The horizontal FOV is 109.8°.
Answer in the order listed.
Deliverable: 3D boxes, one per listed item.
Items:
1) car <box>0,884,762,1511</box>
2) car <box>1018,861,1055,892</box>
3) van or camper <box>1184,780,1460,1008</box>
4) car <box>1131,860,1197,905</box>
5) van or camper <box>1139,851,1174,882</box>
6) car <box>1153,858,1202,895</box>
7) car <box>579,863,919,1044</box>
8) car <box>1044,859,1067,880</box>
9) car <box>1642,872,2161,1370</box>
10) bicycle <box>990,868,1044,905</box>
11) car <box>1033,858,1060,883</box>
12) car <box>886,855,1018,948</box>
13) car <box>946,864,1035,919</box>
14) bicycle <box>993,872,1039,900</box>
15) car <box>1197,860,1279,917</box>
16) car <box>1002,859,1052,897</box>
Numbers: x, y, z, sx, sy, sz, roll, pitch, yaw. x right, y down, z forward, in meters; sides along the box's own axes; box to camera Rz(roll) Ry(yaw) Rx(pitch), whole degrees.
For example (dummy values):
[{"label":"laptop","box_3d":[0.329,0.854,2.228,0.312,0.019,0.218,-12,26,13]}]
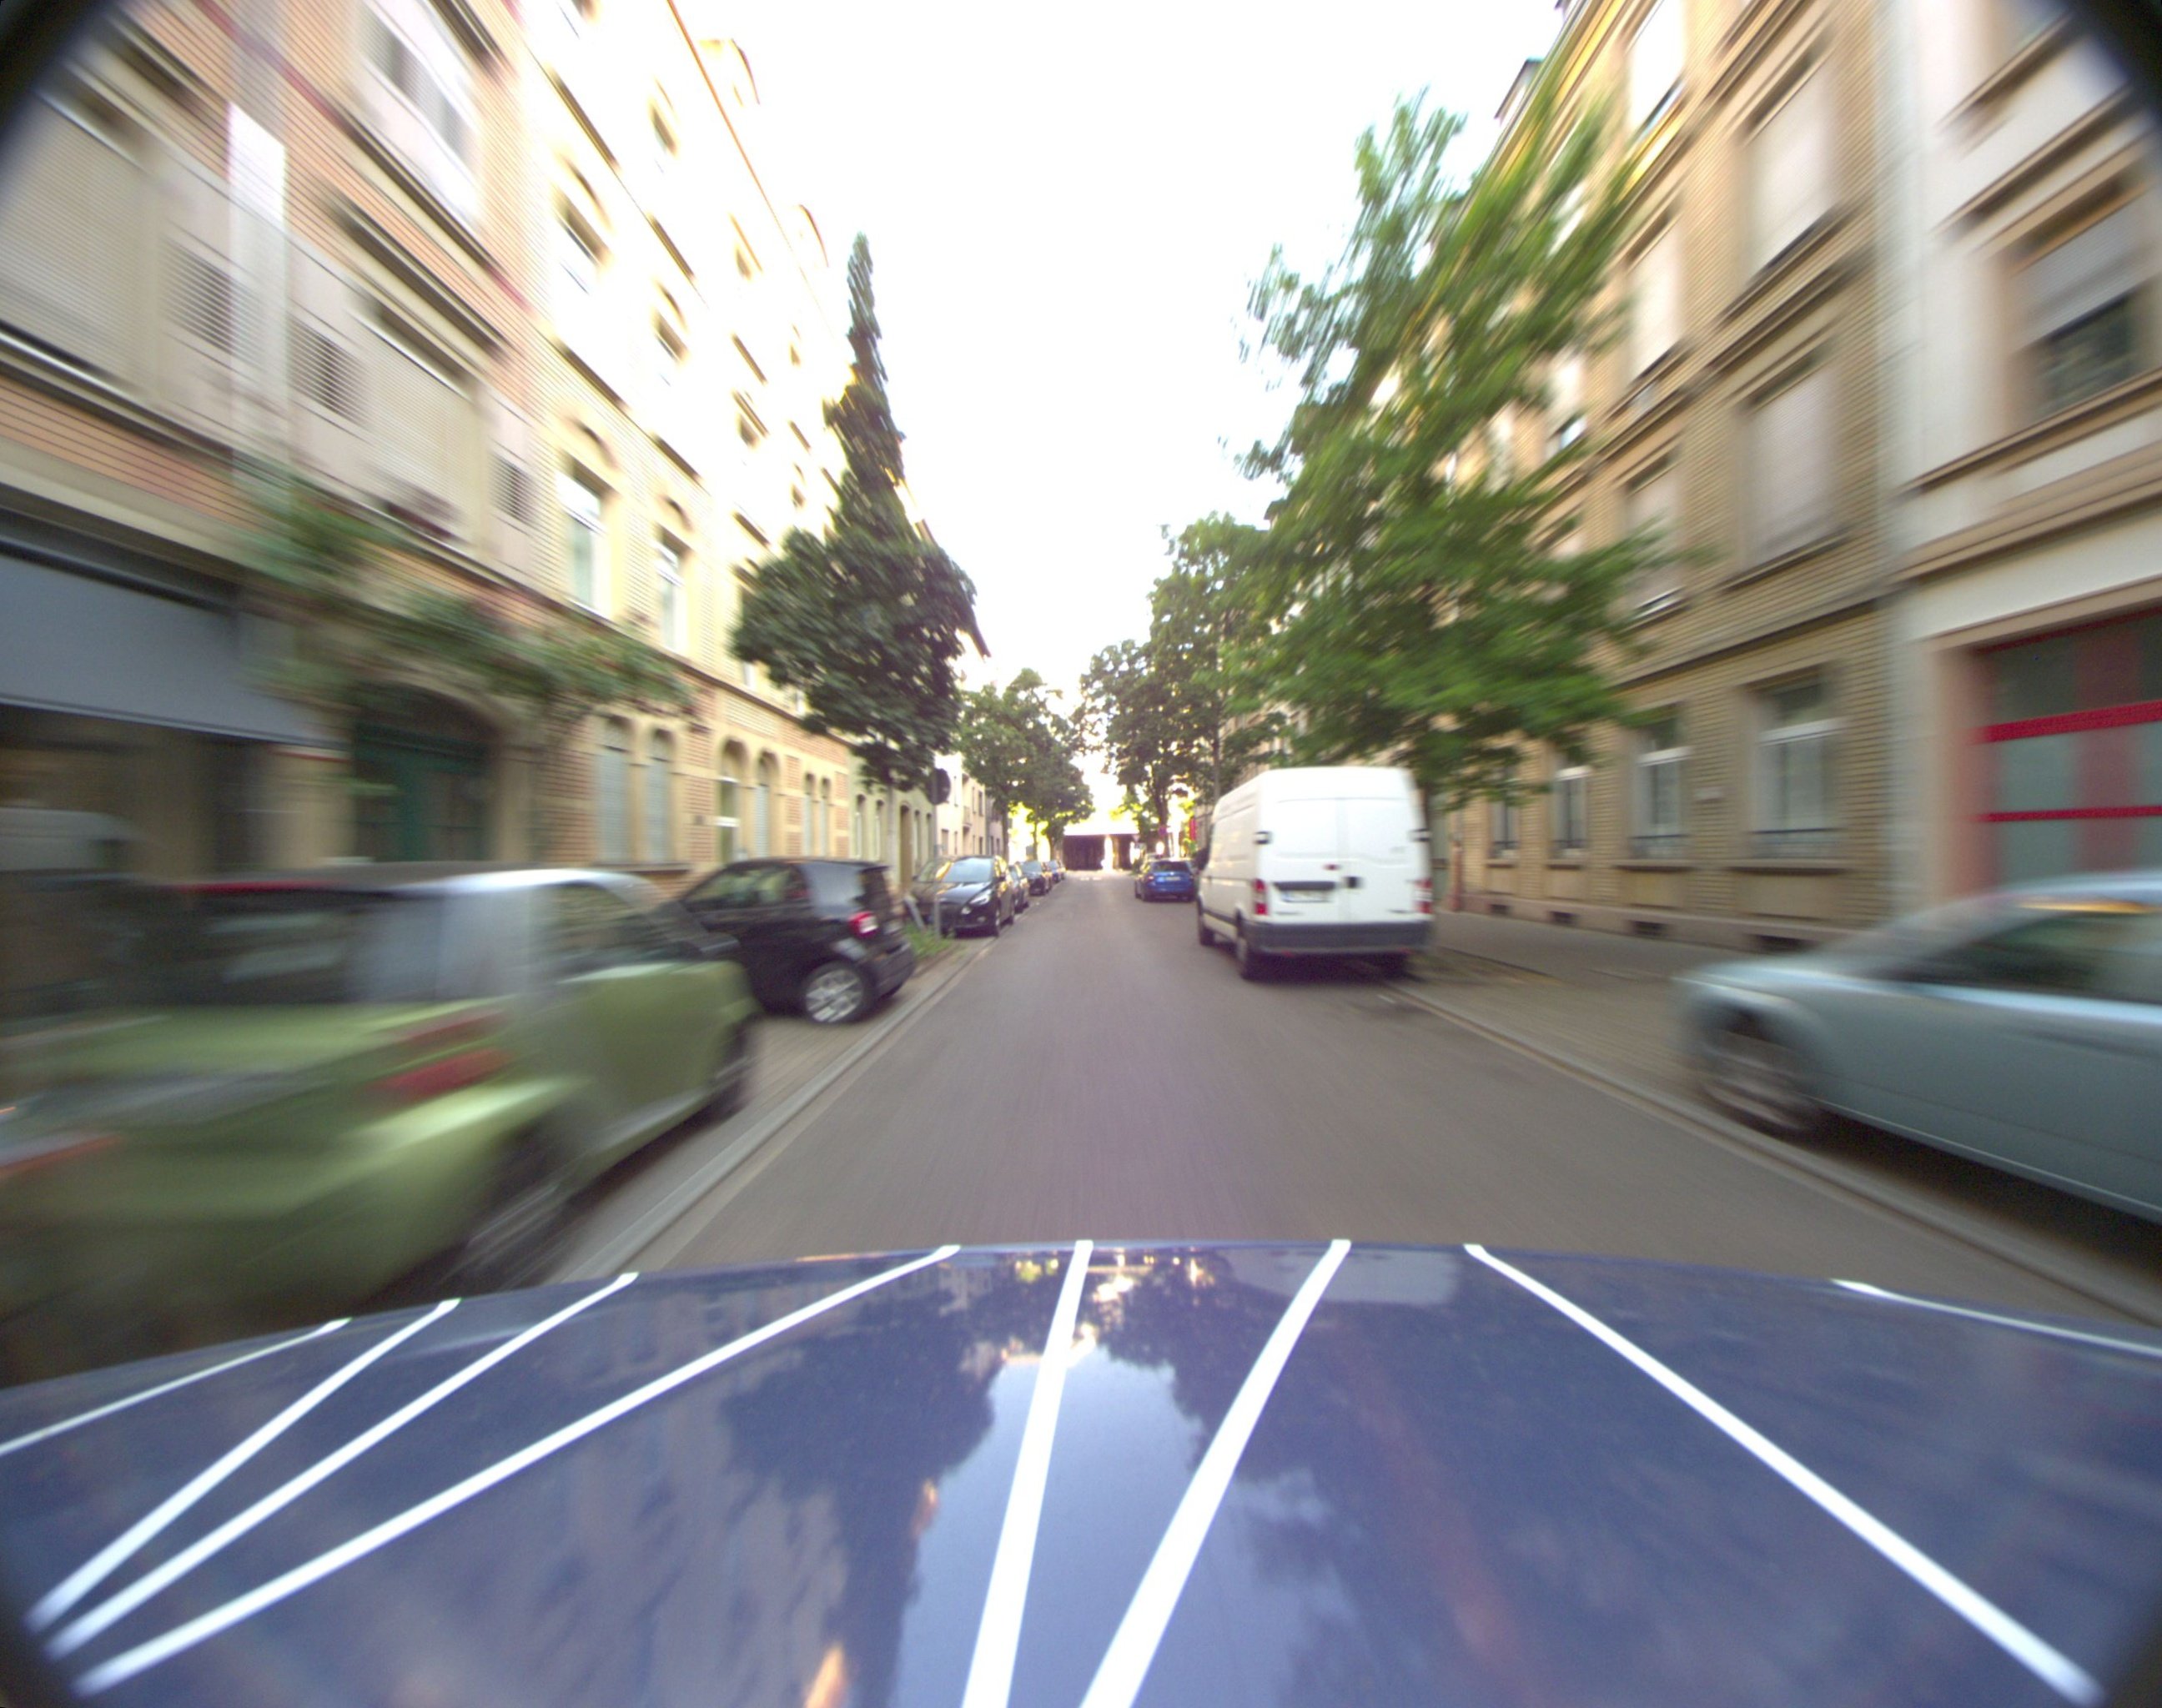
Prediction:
[{"label":"car","box_3d":[-2.758,0.970,3.471,1.468,1.543,2.917,0,0,-3]},{"label":"car","box_3d":[-2.175,1.085,38.147,1.656,1.431,3.639,-1,0,0]},{"label":"van or camper","box_3d":[2.952,0.437,10.919,2.225,2.416,5.660,0,0,1]},{"label":"car","box_3d":[2.841,0.933,26.909,1.665,1.448,4.282,0,0,-3]},{"label":"van or camper","box_3d":[4.734,0.779,48.049,1.684,1.847,3.756,-1,0,-2]},{"label":"car","box_3d":[4.154,0.935,33.287,1.756,1.486,3.757,-1,0,2]},{"label":"car","box_3d":[-3.171,0.912,7.644,2.721,1.564,1.526,1,0,1]},{"label":"car","box_3d":[-1.864,1.116,55.690,1.656,1.381,3.512,-1,0,-2]},{"label":"car","box_3d":[4.294,0.885,2.620,1.688,1.501,4.114,-1,0,0]},{"label":"bicycle","box_3d":[-2.232,1.114,26.648,1.761,1.217,0.639,0,2,-27]},{"label":"car","box_3d":[-2.221,1.058,49.553,1.656,1.500,3.869,-1,0,-2]},{"label":"car","box_3d":[-2.508,0.864,15.916,1.944,1.621,4.454,-1,0,0]},{"label":"car","box_3d":[-2.573,1.041,22.775,2.052,1.395,4.866,0,0,0]},{"label":"bicycle","box_3d":[-2.523,1.224,29.345,1.753,1.014,0.642,1,2,36]},{"label":"car","box_3d":[4.513,0.940,22.306,1.614,1.431,3.848,-2,0,1]},{"label":"car","box_3d":[-2.286,1.003,33.063,1.835,1.530,4.124,0,0,0]}]
